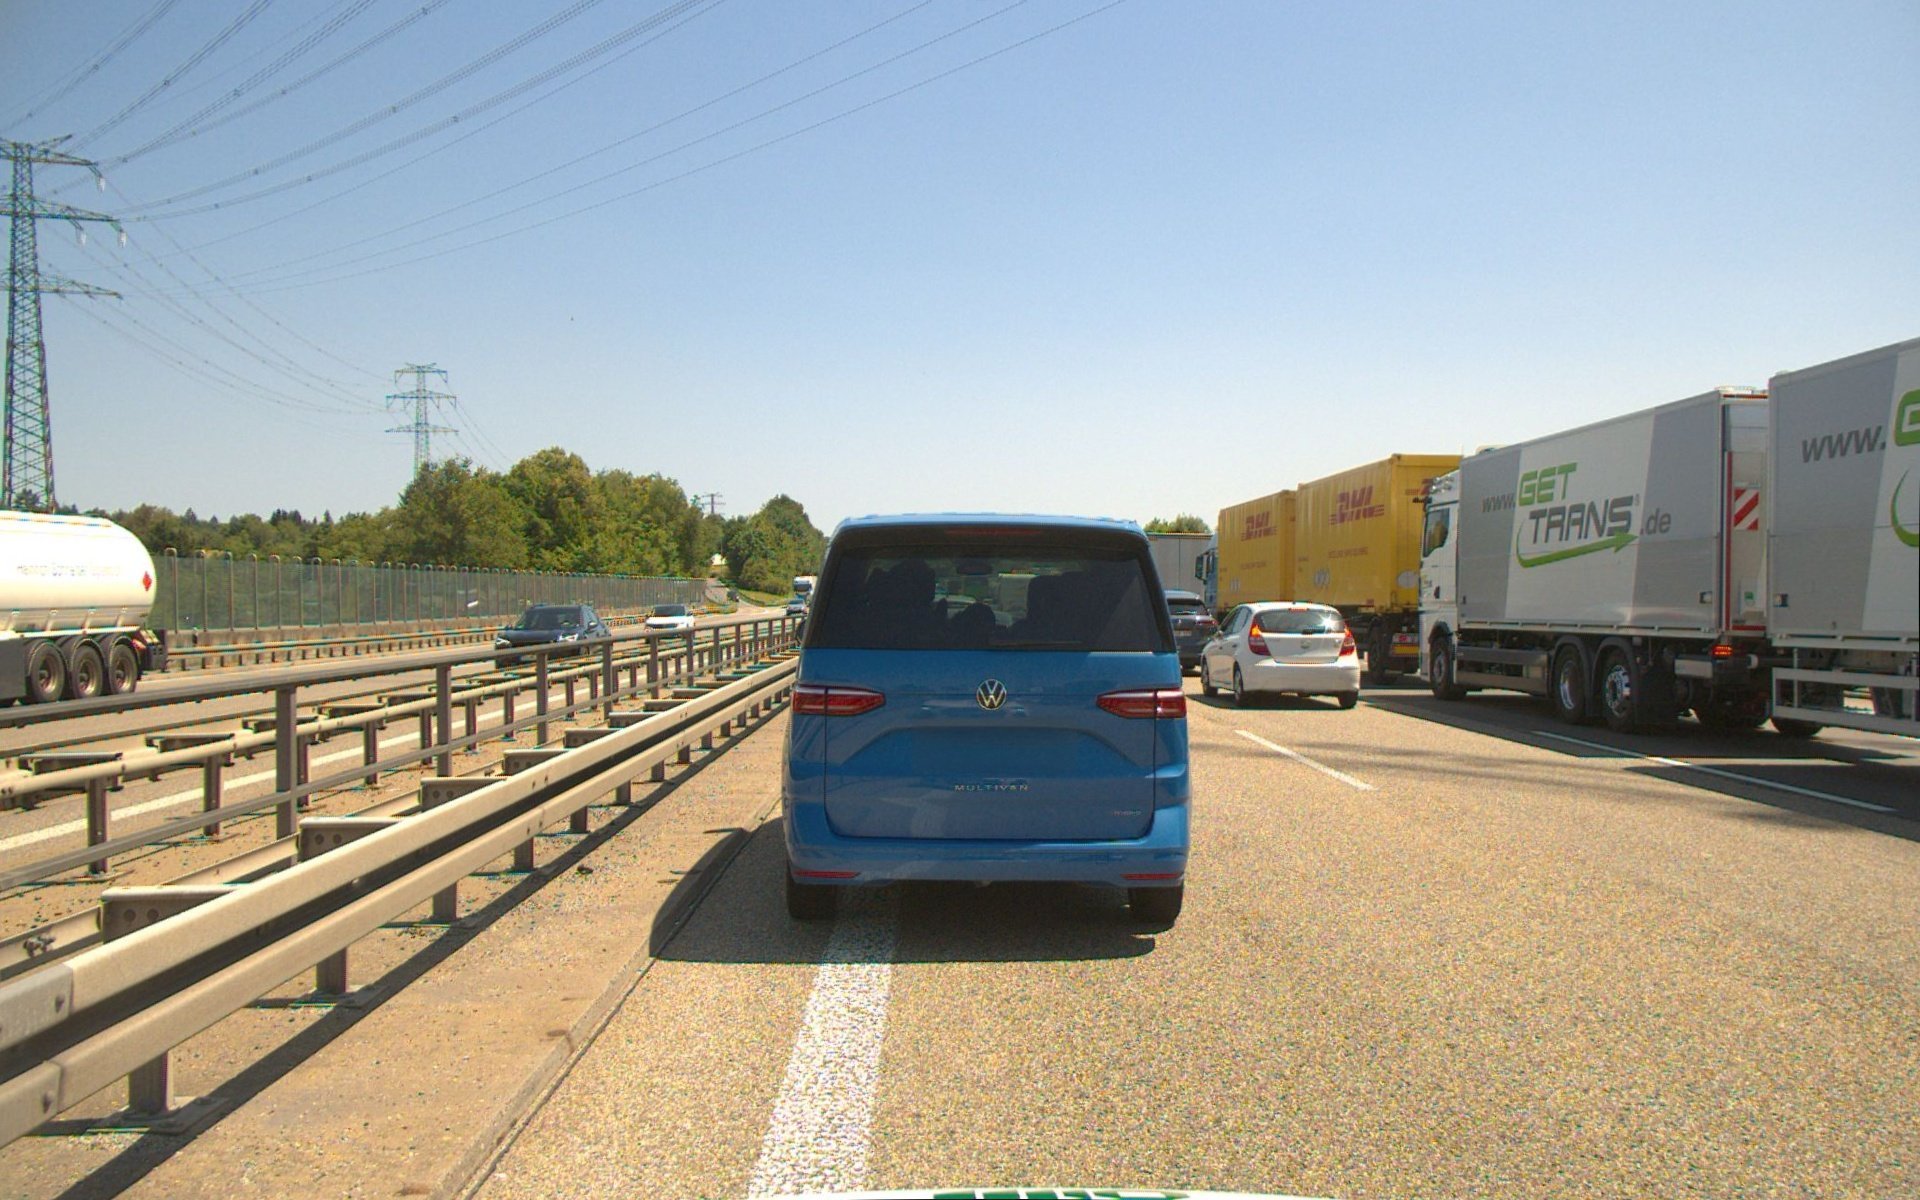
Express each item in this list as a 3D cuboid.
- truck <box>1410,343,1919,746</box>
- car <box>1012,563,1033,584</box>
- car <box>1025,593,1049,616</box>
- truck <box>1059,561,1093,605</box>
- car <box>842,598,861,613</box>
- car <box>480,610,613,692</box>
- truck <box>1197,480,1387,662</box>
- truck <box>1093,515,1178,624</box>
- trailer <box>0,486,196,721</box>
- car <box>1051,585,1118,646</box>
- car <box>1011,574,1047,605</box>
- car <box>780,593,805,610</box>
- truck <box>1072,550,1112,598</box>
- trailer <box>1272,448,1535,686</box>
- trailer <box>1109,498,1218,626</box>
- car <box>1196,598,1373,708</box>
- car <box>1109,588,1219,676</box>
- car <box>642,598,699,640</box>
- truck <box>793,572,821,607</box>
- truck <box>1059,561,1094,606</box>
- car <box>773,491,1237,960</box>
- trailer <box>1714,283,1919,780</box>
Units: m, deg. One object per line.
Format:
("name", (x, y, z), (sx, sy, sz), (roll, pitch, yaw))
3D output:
("truck", (8.916, -0.504, 21.919), (2.794, 4.003, 10.607), (1, -1, -1))
("car", (5.671, -2.396, 150.930), (1.760, 1.782, 3.942), (1, -1, 0))
("car", (6.303, 0.385, 135.255), (1.760, 1.782, 3.942), (1, -1, 0))
("truck", (7.313, -1.066, 104.572), (1.760, 2.641, 4.305), (1, -1, 0))
("car", (-12.340, 0.600, 188.642), (1.834, 1.556, 3.607), (-5, 0, -1))
("car", (-8.590, 1.026, 34.728), (1.844, 1.579, 4.188), (1, -1, -2))
("truck", (8.378, -0.627, 43.141), (2.645, 4.159, 9.936), (1, -1, -2))
("truck", (8.000, -1.291, 76.230), (2.964, 4.692, 7.920), (1, -1, 0))
("trailer", (-15.909, 0.089, 26.298), (2.447, 3.602, 10.902), (-1, -1, 0))
("car", (4.181, 0.520, 56.145), (1.922, 1.970, 3.931), (1, -1, -1))
("car", (4.073, -0.594, 98.276), (1.880, 1.736, 3.999), (1, -1, -1))
("car", (-15.312, 0.167, 151.258), (1.834, 1.467, 4.384), (-2, 0, -1))
("truck", (7.211, -1.398, 90.565), (1.761, 2.492, 4.503), (1, -1, 0))
("trailer", (8.687, -0.546, 33.722), (2.628, 4.159, 8.976), (1, -1, -2))
("trailer", (8.035, -1.373, 66.799), (2.964, 4.692, 10.923), (1, -1, 0))
("car", (4.789, 0.757, 24.948), (1.778, 1.496, 3.930), (1, -1, -2))
("car", (4.218, 0.645, 34.746), (1.778, 1.708, 3.931), (1, -1, 0))
("car", (-12.158, 0.795, 69.579), (1.770, 1.668, 3.998), (-2, 0, -2))
("truck", (-20.198, -1.368, 218.671), (2.869, 4.368, 6.857), (-3, -1, 0))
("truck", (6.989, -0.984, 99.370), (1.706, 2.593, 4.209), (1, -1, 0))
("car", (0.167, 0.539, 8.850), (1.891, 1.906, 3.999), (1, -1, -1))
("trailer", (9.062, -0.530, 12.490), (2.840, 3.959, 8.212), (1, -1, -1))
